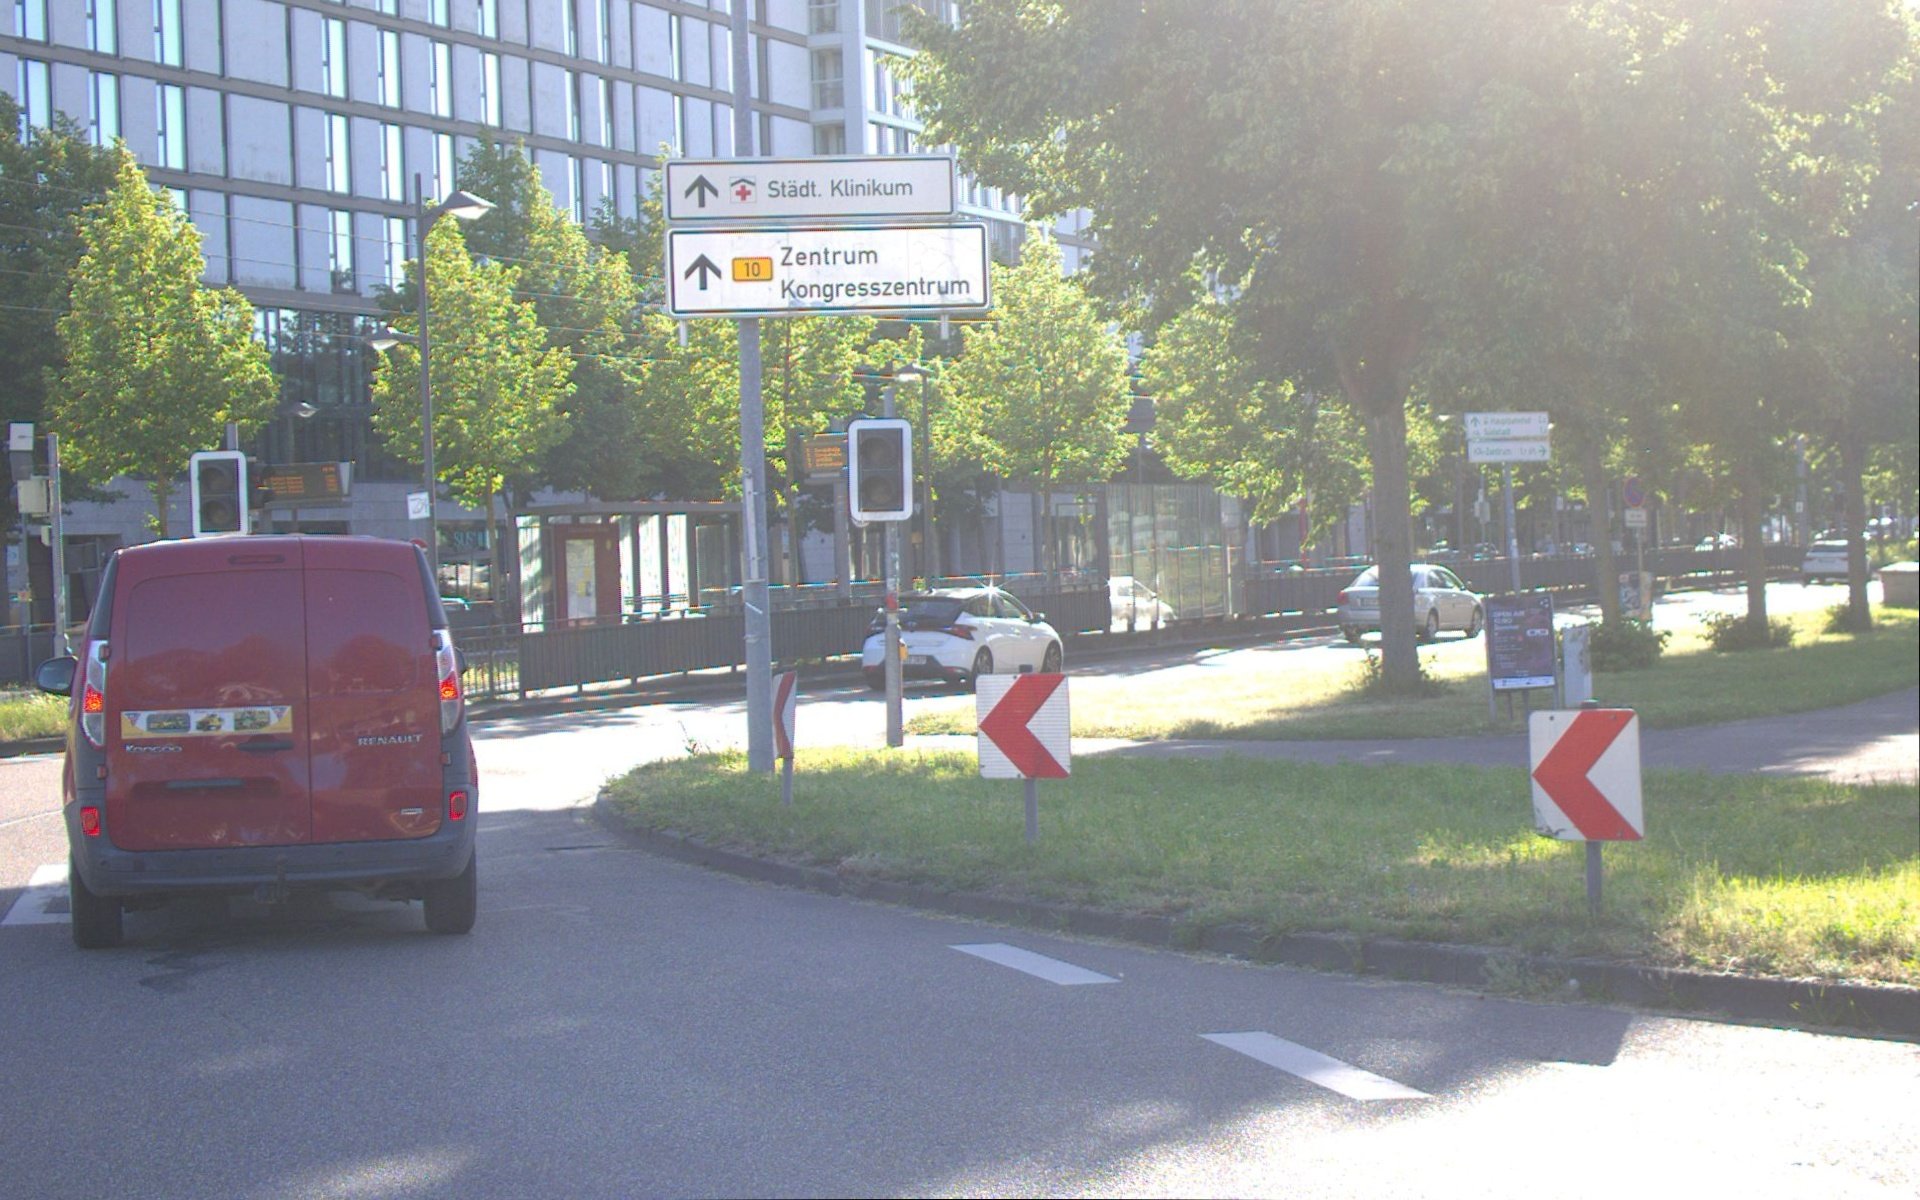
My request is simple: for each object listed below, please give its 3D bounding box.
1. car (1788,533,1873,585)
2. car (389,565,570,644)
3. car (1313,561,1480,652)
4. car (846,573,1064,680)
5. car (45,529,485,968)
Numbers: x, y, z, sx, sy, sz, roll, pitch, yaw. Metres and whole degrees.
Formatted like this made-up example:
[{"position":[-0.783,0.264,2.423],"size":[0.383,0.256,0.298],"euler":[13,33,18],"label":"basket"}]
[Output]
[{"position":[28.838,-1.373,113.830],"size":[1.996,1.569,4.403],"euler":[-2,2,24],"label":"car"},{"position":[-10.355,0.079,74.282],"size":[1.937,1.569,3.971],"euler":[-1,1,26],"label":"car"},{"position":[8.564,0.103,67.150],"size":[1.996,1.569,4.403],"euler":[-2,2,24],"label":"car"},{"position":[-0.031,0.348,49.807],"size":[1.805,1.456,3.805],"euler":[0,1,23],"label":"car"},{"position":[-3.367,0.613,16.216],"size":[1.802,1.807,3.810],"euler":[0,0,-14],"label":"car"}]
